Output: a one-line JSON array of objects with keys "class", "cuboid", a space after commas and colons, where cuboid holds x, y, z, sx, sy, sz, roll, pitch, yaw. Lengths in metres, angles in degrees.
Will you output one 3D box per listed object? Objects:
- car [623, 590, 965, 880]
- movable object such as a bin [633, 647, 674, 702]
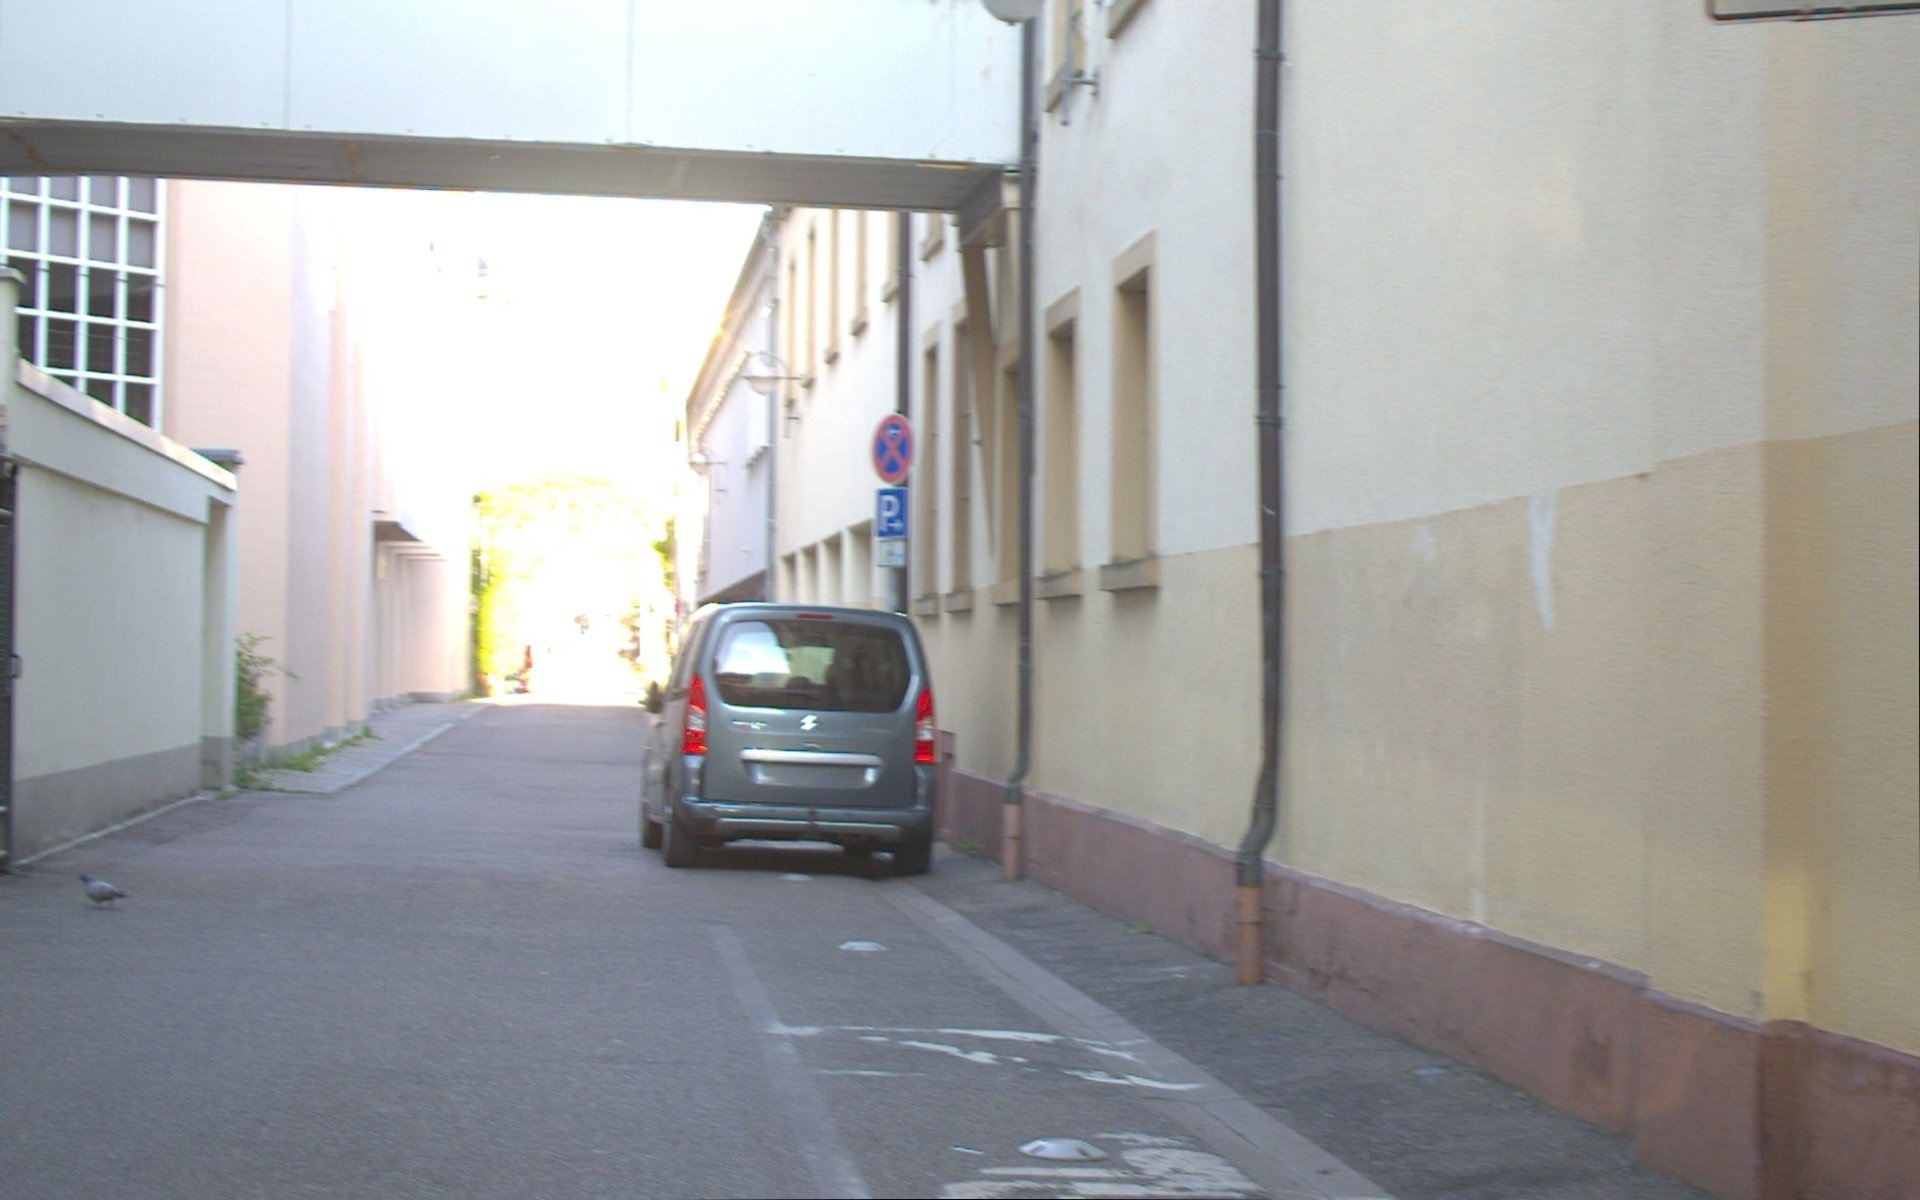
[{"class": "car", "cuboid": [-1.267, 0.897, 24.261, 1.855, 1.750, 4.163, 4, -1, -9]}, {"class": "movable object such as a bin", "cuboid": [-8.565, 2.083, 95.962, 1.106, 1.431, 1.414, 1, 2, -6]}]
